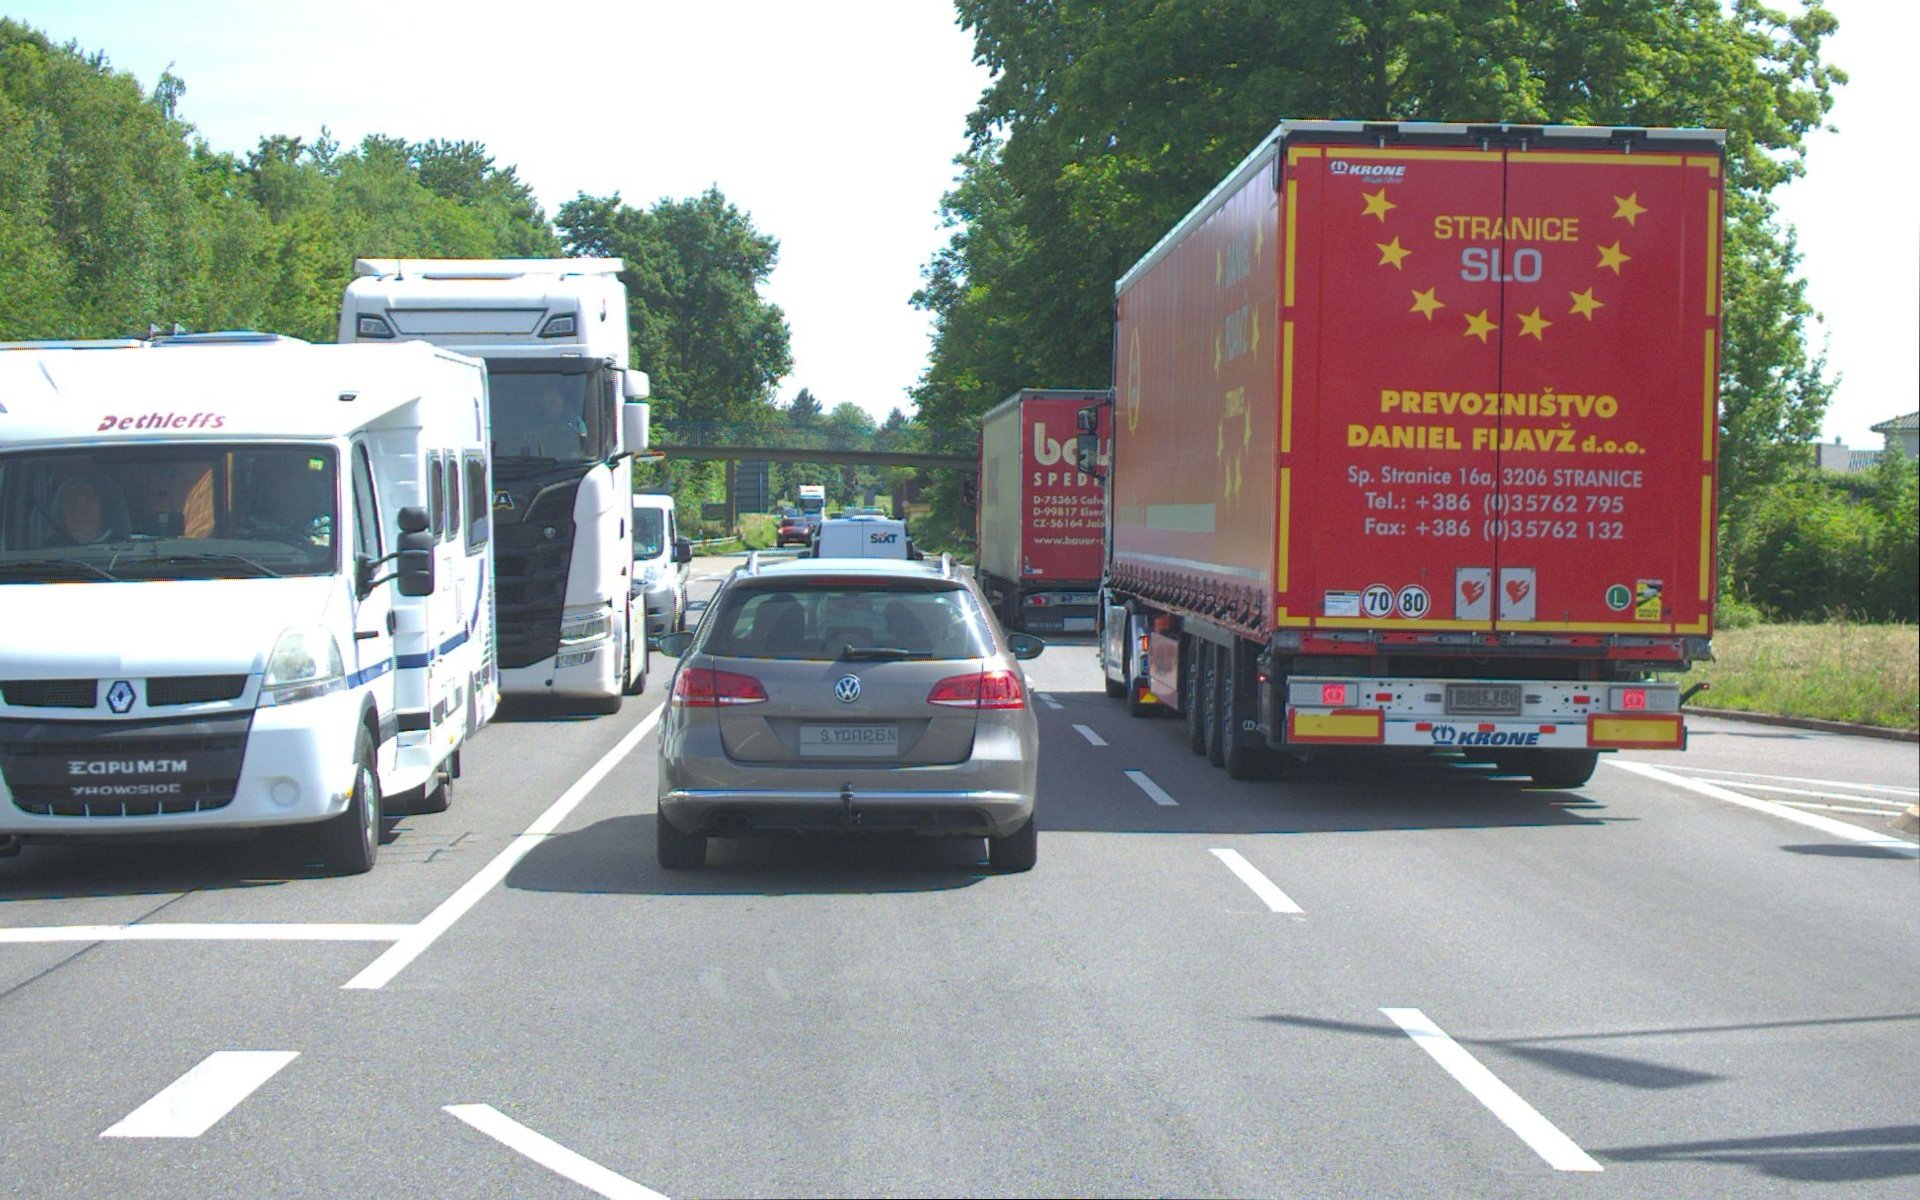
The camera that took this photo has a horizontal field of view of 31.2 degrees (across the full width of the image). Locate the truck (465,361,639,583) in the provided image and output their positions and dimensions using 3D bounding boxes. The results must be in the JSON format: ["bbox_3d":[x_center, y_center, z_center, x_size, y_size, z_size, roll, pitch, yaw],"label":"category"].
[{"bbox_3d":[-6.814,-2.080,58.084,2.343,3.508,6.697,-1,1,-2],"label":"truck"}]

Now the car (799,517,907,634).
[{"bbox_3d":[-1.876,-0.438,59.544,1.770,1.930,3.978,-1,1,-2],"label":"car"}]

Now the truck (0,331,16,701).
[{"bbox_3d":[-11.536,-0.838,32.798,2.729,3.985,9.621,-1,1,-2],"label":"truck"}]

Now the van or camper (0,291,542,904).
[{"bbox_3d":[-3.744,-0.049,18.172,2.330,2.591,6.979,-1,1,-1],"label":"van or camper"}]

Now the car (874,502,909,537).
[{"bbox_3d":[-4.035,-4.732,202.053,1.993,2.007,4.000,-1,1,-2],"label":"car"}]

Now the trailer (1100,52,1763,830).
[{"bbox_3d":[2.939,-0.977,26.051,2.839,4.350,13.168,1,1,-1],"label":"trailer"}]

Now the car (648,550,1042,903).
[{"bbox_3d":[-0.584,0.526,16.981,1.691,1.508,4.000,-1,1,-2],"label":"car"}]

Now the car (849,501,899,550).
[{"bbox_3d":[-3.605,-3.100,143.983,1.993,2.007,4.000,-1,1,-2],"label":"car"}]

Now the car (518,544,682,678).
[{"bbox_3d":[-4.388,0.109,42.424,1.710,1.546,4.109,-1,1,-2],"label":"car"}]

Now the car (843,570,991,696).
[{"bbox_3d":[-0.595,0.384,44.343,1.770,1.508,4.000,-1,1,-2],"label":"car"}]

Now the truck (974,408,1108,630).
[{"bbox_3d":[1.532,-1.555,67.277,2.406,4.113,5.521,-1,1,0],"label":"truck"}]

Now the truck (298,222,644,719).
[{"bbox_3d":[-4.329,-1.112,31.567,2.536,4.074,6.266,-1,1,-3],"label":"truck"}]

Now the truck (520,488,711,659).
[{"bbox_3d":[-4.855,-0.399,49.329,2.227,2.260,6.500,-1,1,-2],"label":"truck"}]

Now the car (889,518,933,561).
[{"bbox_3d":[-2.383,-2.898,165.540,1.993,2.007,4.000,-1,1,-2],"label":"car"}]

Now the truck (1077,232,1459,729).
[{"bbox_3d":[2.781,-1.076,32.823,2.870,4.266,5.839,1,1,-2],"label":"truck"}]

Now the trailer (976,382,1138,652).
[{"bbox_3d":[1.569,-1.395,60.988,2.395,4.229,13.078,-1,1,0],"label":"trailer"}]
